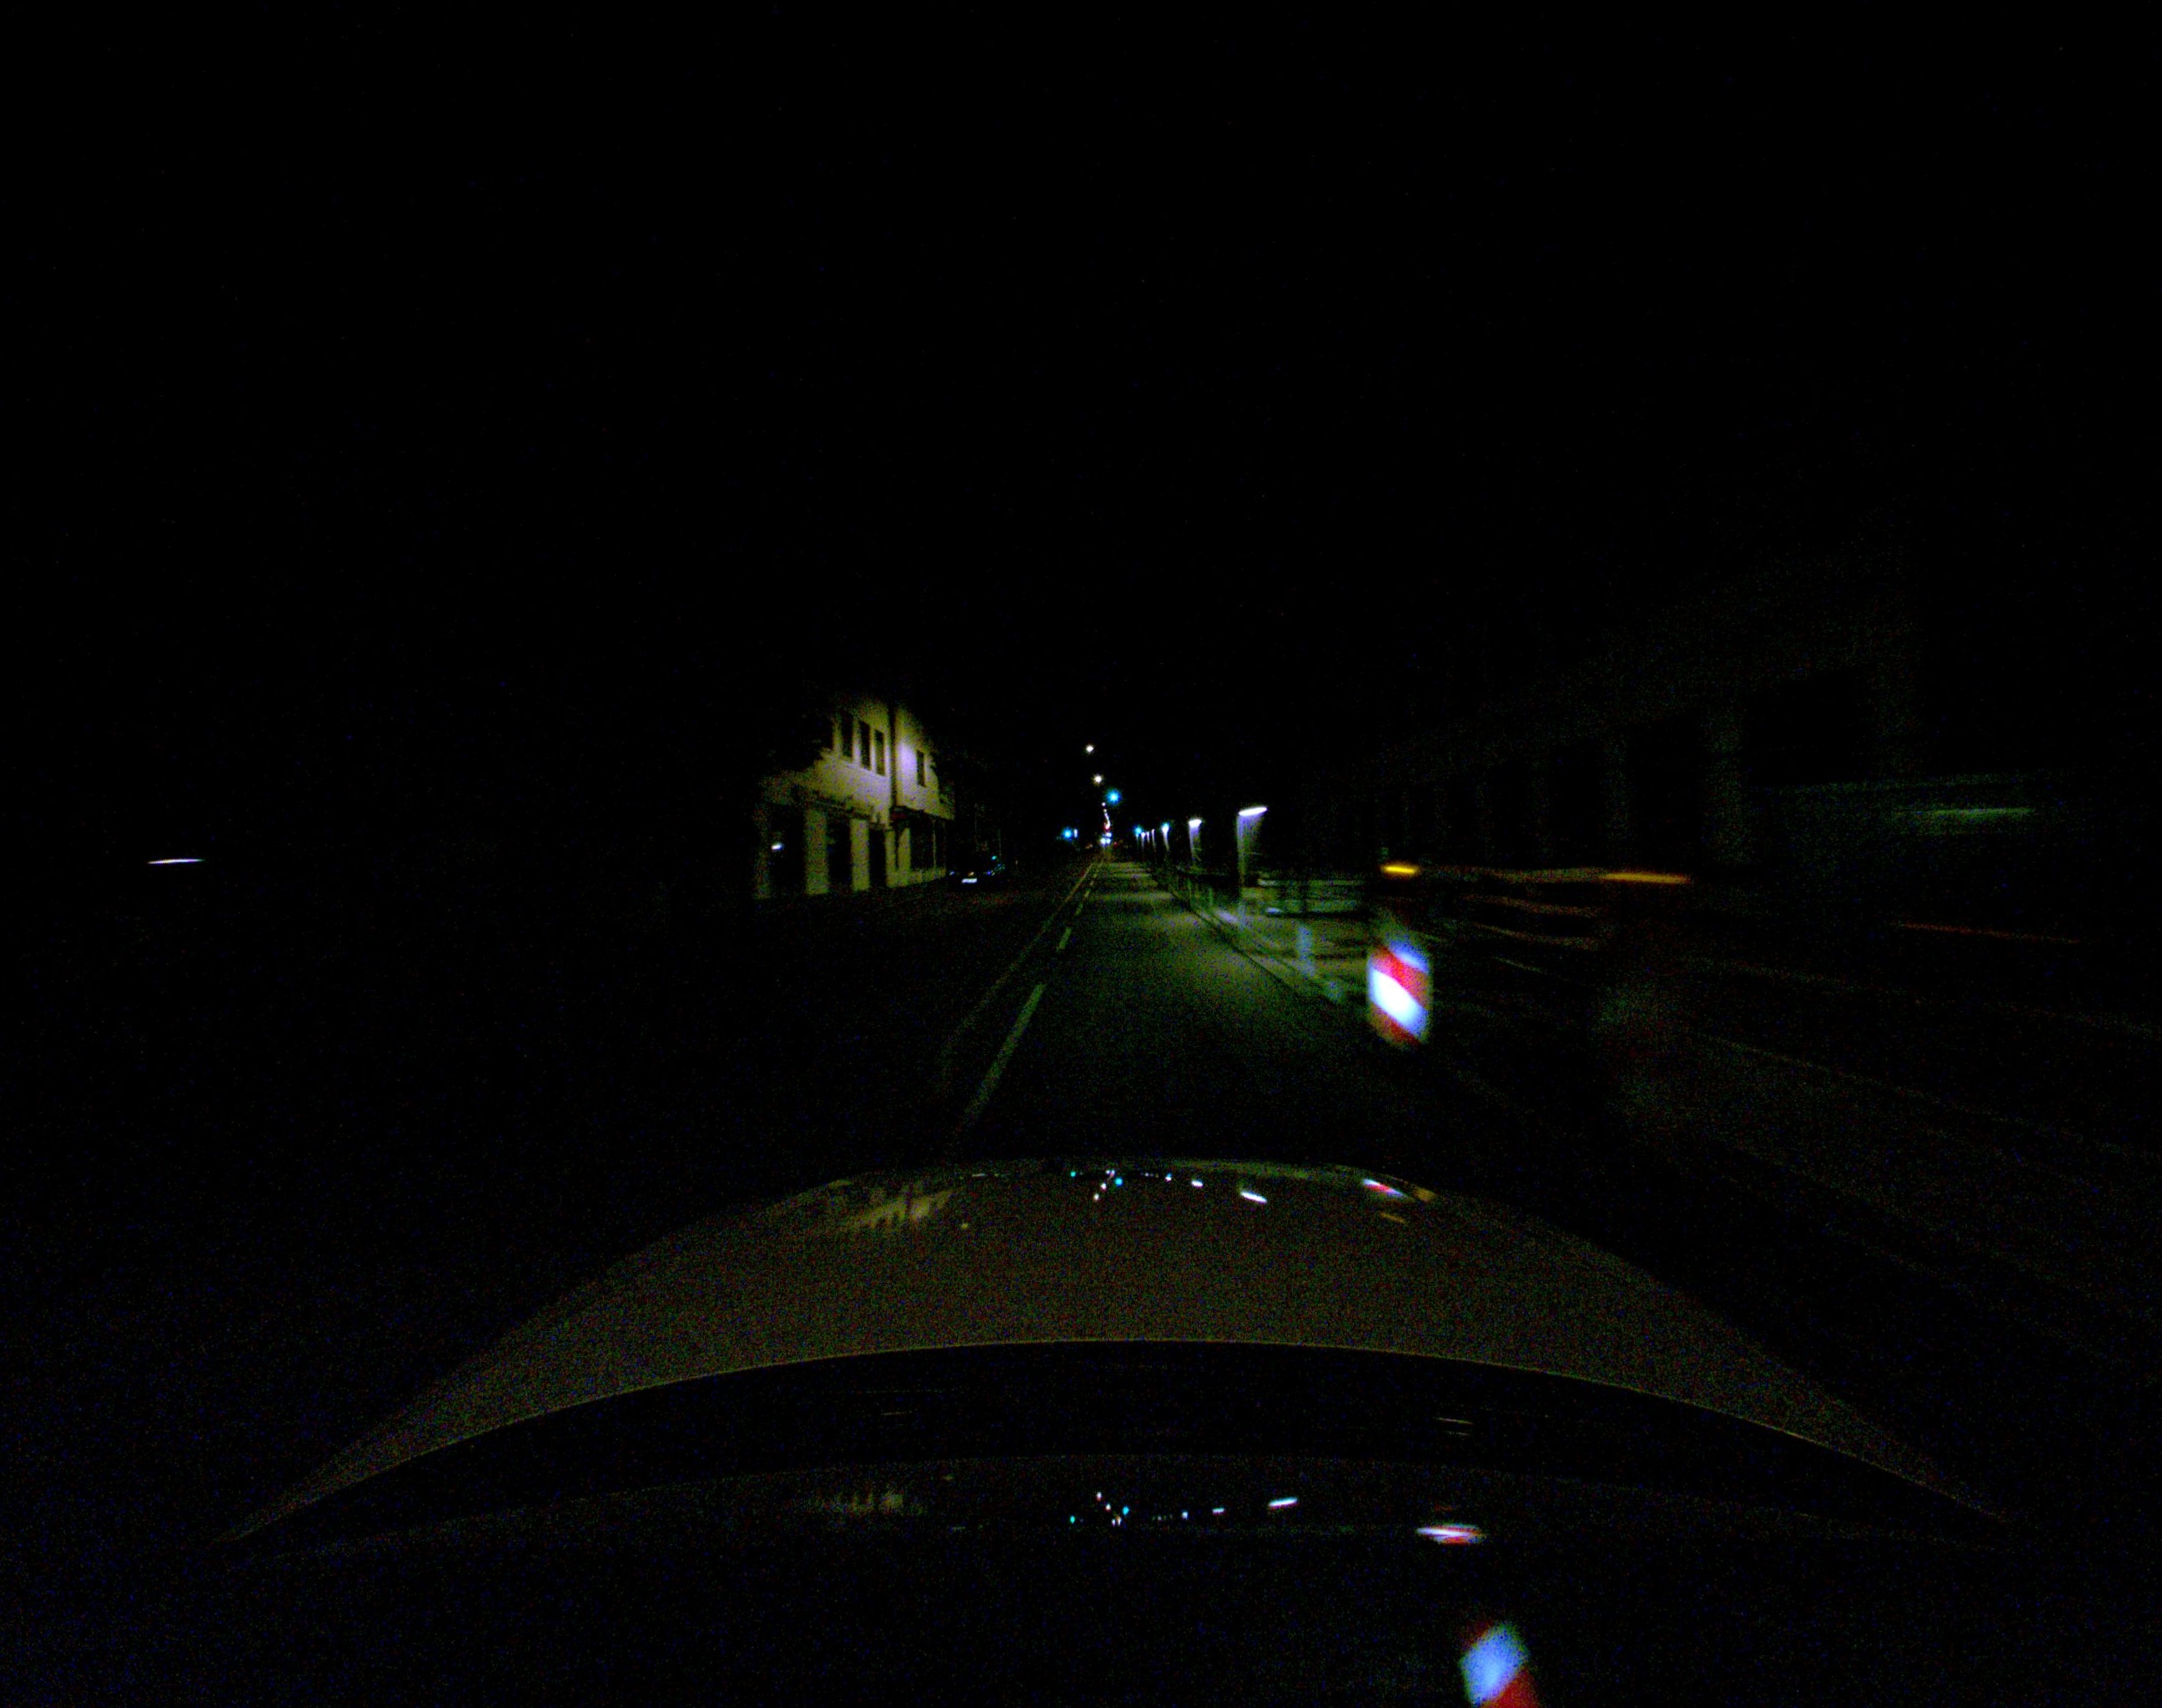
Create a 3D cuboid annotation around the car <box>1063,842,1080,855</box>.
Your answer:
[{"bbox_3d":[-1.220,-0.715,104.100,1.866,1.544,4.207,-2,1,2],"label":"car"}]

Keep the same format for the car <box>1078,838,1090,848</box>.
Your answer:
[{"bbox_3d":[0.552,-2.022,147.530,1.866,1.814,4.207,-2,1,2],"label":"car"}]

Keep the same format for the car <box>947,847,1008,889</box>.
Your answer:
[{"bbox_3d":[-4.003,0.504,32.101,1.664,1.443,4.207,-2,1,2],"label":"car"}]

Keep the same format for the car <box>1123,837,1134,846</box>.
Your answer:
[{"bbox_3d":[9.030,-2.396,154.327,1.866,1.544,4.207,-2,1,2],"label":"car"}]

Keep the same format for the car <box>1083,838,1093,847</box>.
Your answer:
[{"bbox_3d":[1.351,-2.323,165.825,1.866,1.814,4.207,-2,1,2],"label":"car"}]

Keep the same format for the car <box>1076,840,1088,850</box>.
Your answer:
[{"bbox_3d":[0.145,-1.573,141.475,1.866,1.544,4.207,-2,1,2],"label":"car"}]

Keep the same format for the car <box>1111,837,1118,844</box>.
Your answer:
[{"bbox_3d":[9.418,-3.843,228.324,1.865,1.814,4.208,-2,1,3],"label":"car"}]

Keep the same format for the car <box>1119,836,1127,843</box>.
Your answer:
[{"bbox_3d":[9.910,-3.470,193.282,1.866,1.544,4.207,-2,1,2],"label":"car"}]
